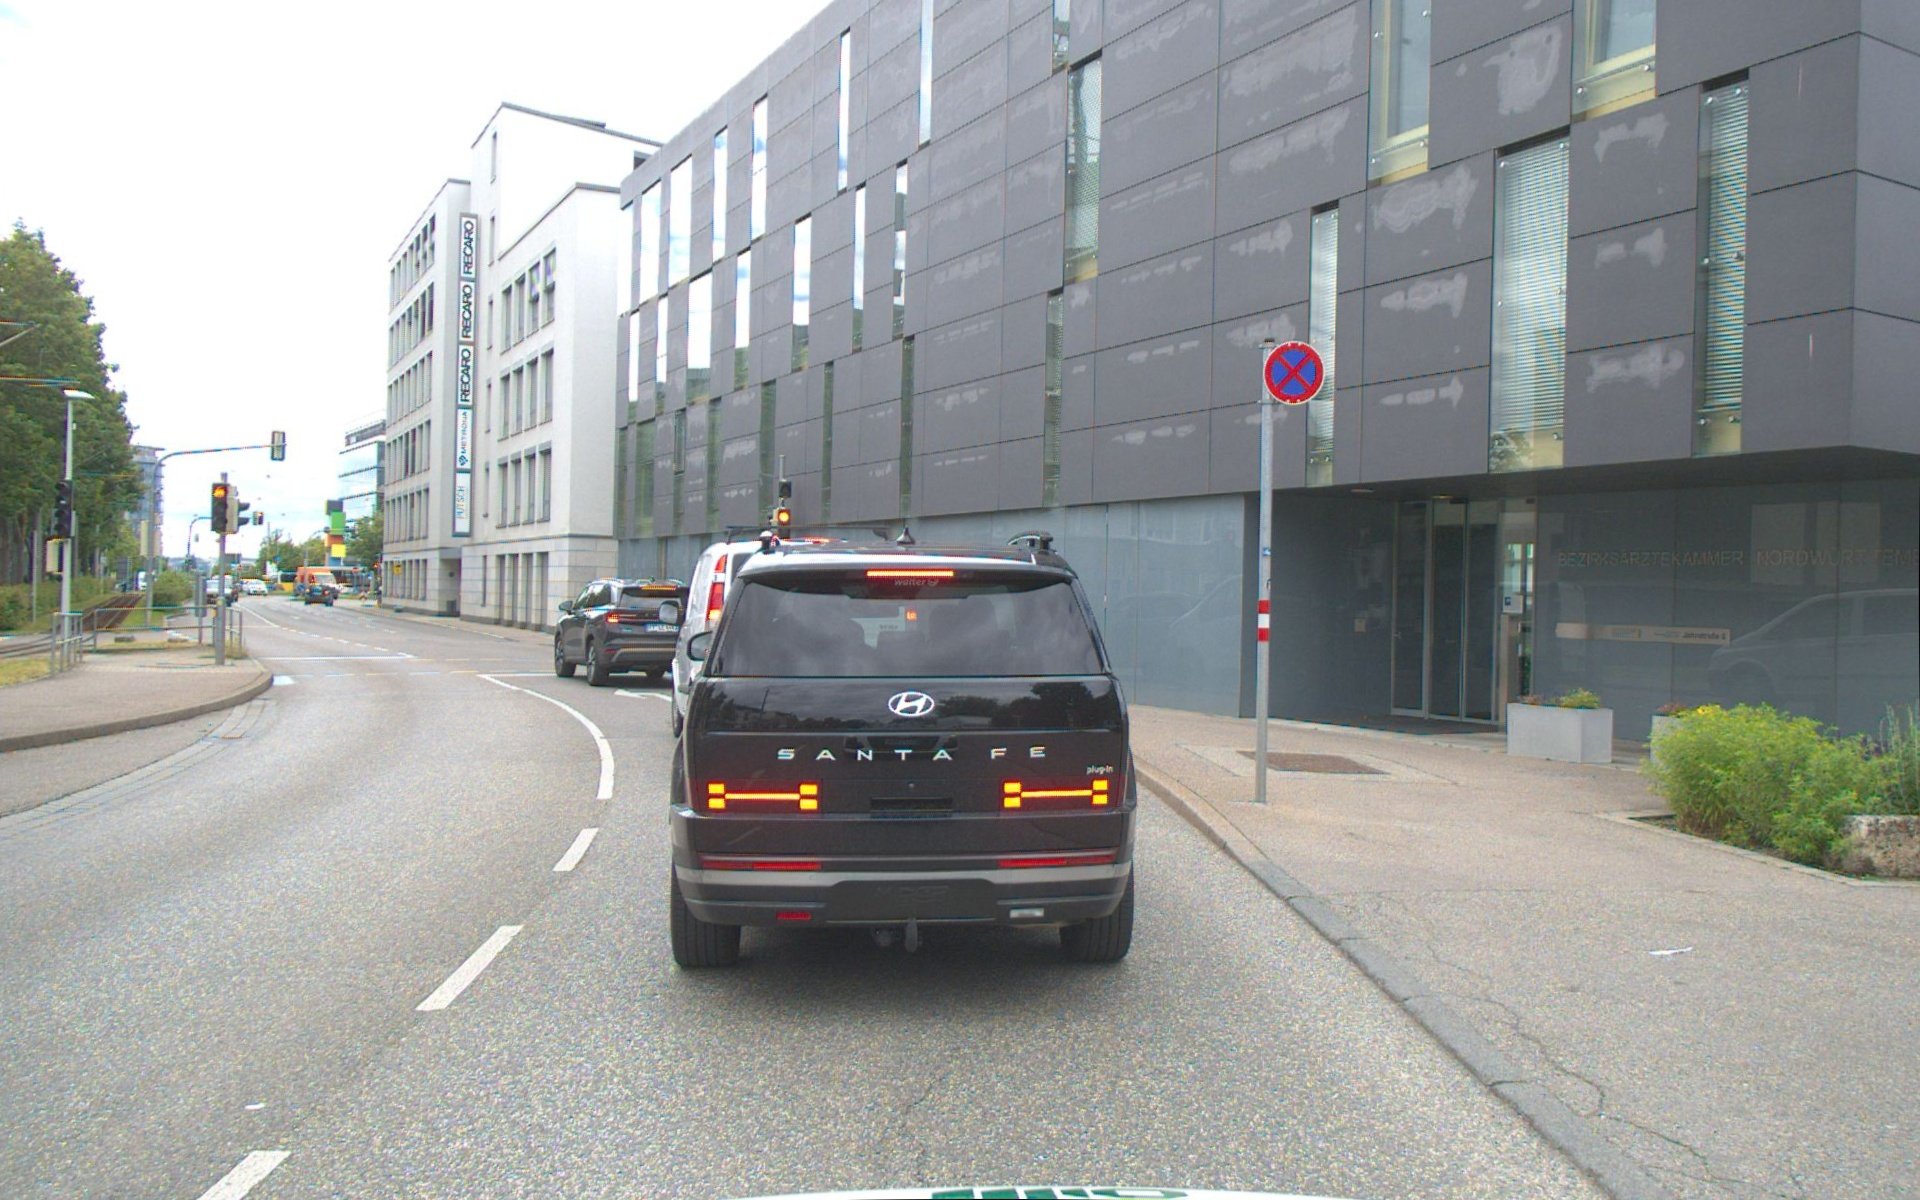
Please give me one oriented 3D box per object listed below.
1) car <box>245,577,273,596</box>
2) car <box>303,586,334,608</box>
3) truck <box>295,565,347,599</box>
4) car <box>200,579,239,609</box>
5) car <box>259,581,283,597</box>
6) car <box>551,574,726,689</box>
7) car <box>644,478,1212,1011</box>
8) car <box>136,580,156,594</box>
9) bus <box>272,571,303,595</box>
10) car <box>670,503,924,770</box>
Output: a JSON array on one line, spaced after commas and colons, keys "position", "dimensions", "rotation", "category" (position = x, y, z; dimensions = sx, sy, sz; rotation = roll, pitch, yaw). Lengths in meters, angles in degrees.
[{"position": [-69.647, -1.349, 164.242], "dimensions": [1.897, 1.755, 4.125], "rotation": [3, 0, -32], "category": "car"}, {"position": [-46.137, -0.252, 118.985], "dimensions": [1.870, 1.512, 3.979], "rotation": [1, 0, -19], "category": "car"}, {"position": [-56.873, -1.610, 147.063], "dimensions": [2.554, 2.874, 6.898], "rotation": [1, 0, -37], "category": "truck"}, {"position": [-43.865, -0.377, 97.915], "dimensions": [1.831, 1.725, 3.963], "rotation": [1, 0, -28], "category": "car"}, {"position": [-80.223, -1.288, 192.609], "dimensions": [1.897, 1.755, 4.125], "rotation": [3, 0, -32], "category": "car"}, {"position": [-5.319, 0.474, 26.942], "dimensions": [1.824, 1.706, 4.340], "rotation": [0, 0, -25], "category": "car"}, {"position": [-0.233, 0.497, 7.769], "dimensions": [1.877, 1.755, 4.167], "rotation": [3, 0, -4], "category": "car"}, {"position": [-105.915, -1.698, 215.094], "dimensions": [1.897, 1.755, 4.125], "rotation": [3, 0, -32], "category": "car"}, {"position": [-90.205, -2.303, 221.780], "dimensions": [3.045, 2.979, 10.257], "rotation": [3, 0, -26], "category": "bus"}, {"position": [-1.646, 0.269, 15.169], "dimensions": [1.823, 2.069, 4.424], "rotation": [1, 0, -12], "category": "car"}]
